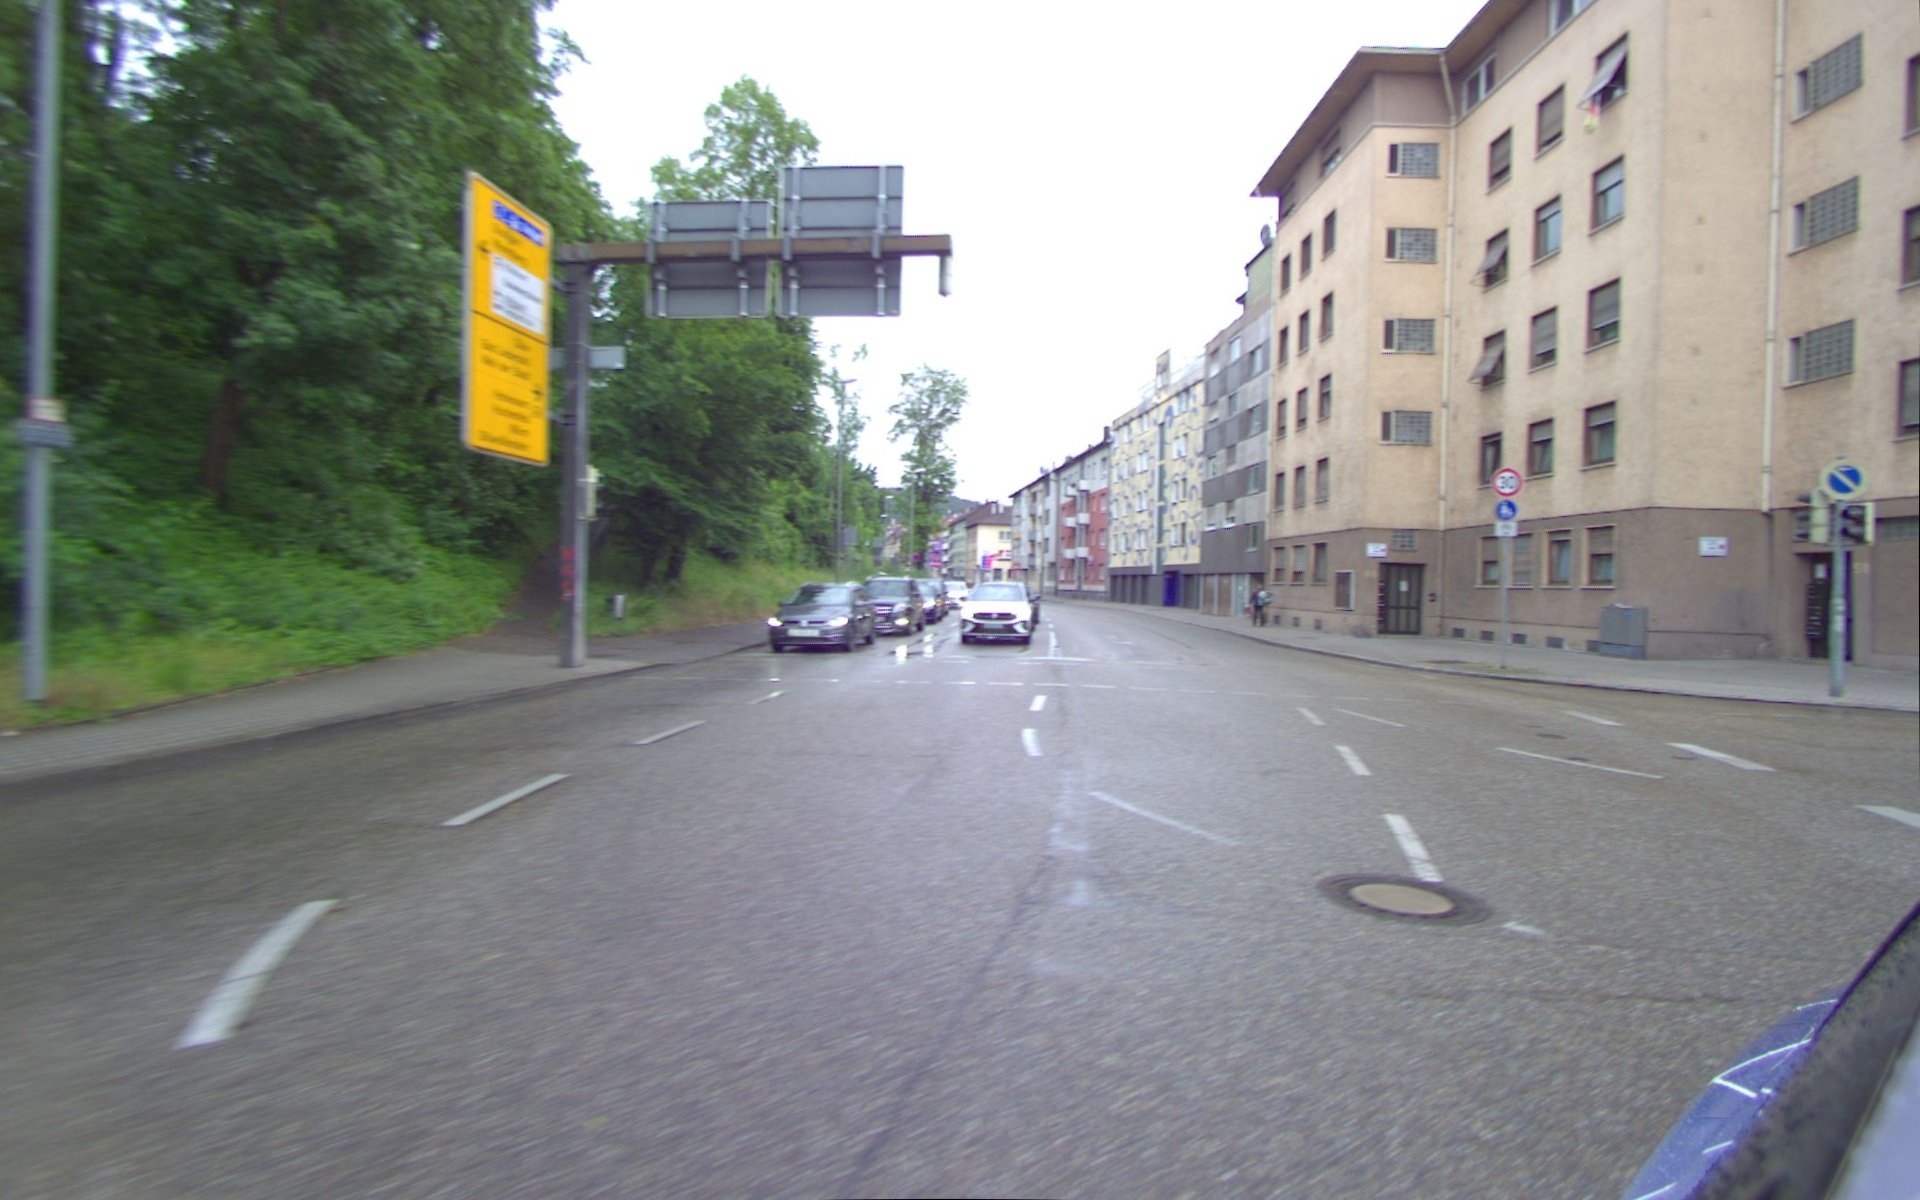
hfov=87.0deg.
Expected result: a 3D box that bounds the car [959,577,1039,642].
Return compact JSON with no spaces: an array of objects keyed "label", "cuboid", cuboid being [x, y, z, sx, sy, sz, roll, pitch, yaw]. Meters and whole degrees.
[{"label":"car","cuboid":[0.978,0.170,25.846,1.844,1.496,4.552,1,1,2]}]

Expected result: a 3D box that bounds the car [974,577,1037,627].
[{"label":"car","cuboid":[1.491,0.014,32.895,1.885,1.496,4.616,1,1,3]}]

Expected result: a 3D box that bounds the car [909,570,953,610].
[{"label":"car","cuboid":[-1.236,-0.455,44.573,1.651,1.677,3.998,1,1,2]}]

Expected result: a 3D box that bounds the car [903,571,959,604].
[{"label":"car","cuboid":[-1.918,-0.791,65.162,1.959,2.039,4.495,0,1,-26]}]

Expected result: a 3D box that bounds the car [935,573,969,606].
[{"label":"car","cuboid":[-0.385,-0.584,54.217,1.651,1.677,3.998,1,1,2]}]

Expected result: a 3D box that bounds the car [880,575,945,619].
[{"label":"car","cuboid":[-1.661,-0.150,36.839,1.963,1.496,4.618,1,1,2]}]

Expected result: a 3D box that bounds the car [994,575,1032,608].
[{"label":"car","cuboid":[2.847,-0.485,55.182,1.963,1.682,3.998,1,1,2]}]

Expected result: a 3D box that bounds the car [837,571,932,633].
[{"label":"car","cuboid":[-2.085,0.003,29.164,1.965,1.637,4.613,0,1,6]}]

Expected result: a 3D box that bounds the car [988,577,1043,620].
[{"label":"car","cuboid":[2.064,-0.092,38.582,1.963,1.496,4.618,1,1,2]}]

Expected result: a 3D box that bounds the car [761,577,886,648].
[{"label":"car","cuboid":[-2.927,0.211,22.617,1.789,1.426,4.225,0,1,7]}]

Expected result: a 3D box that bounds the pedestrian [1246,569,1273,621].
[{"label":"pedestrian","cuboid":[11.762,-0.191,39.810,0.795,2.039,0.858,0,-1,1]}]
